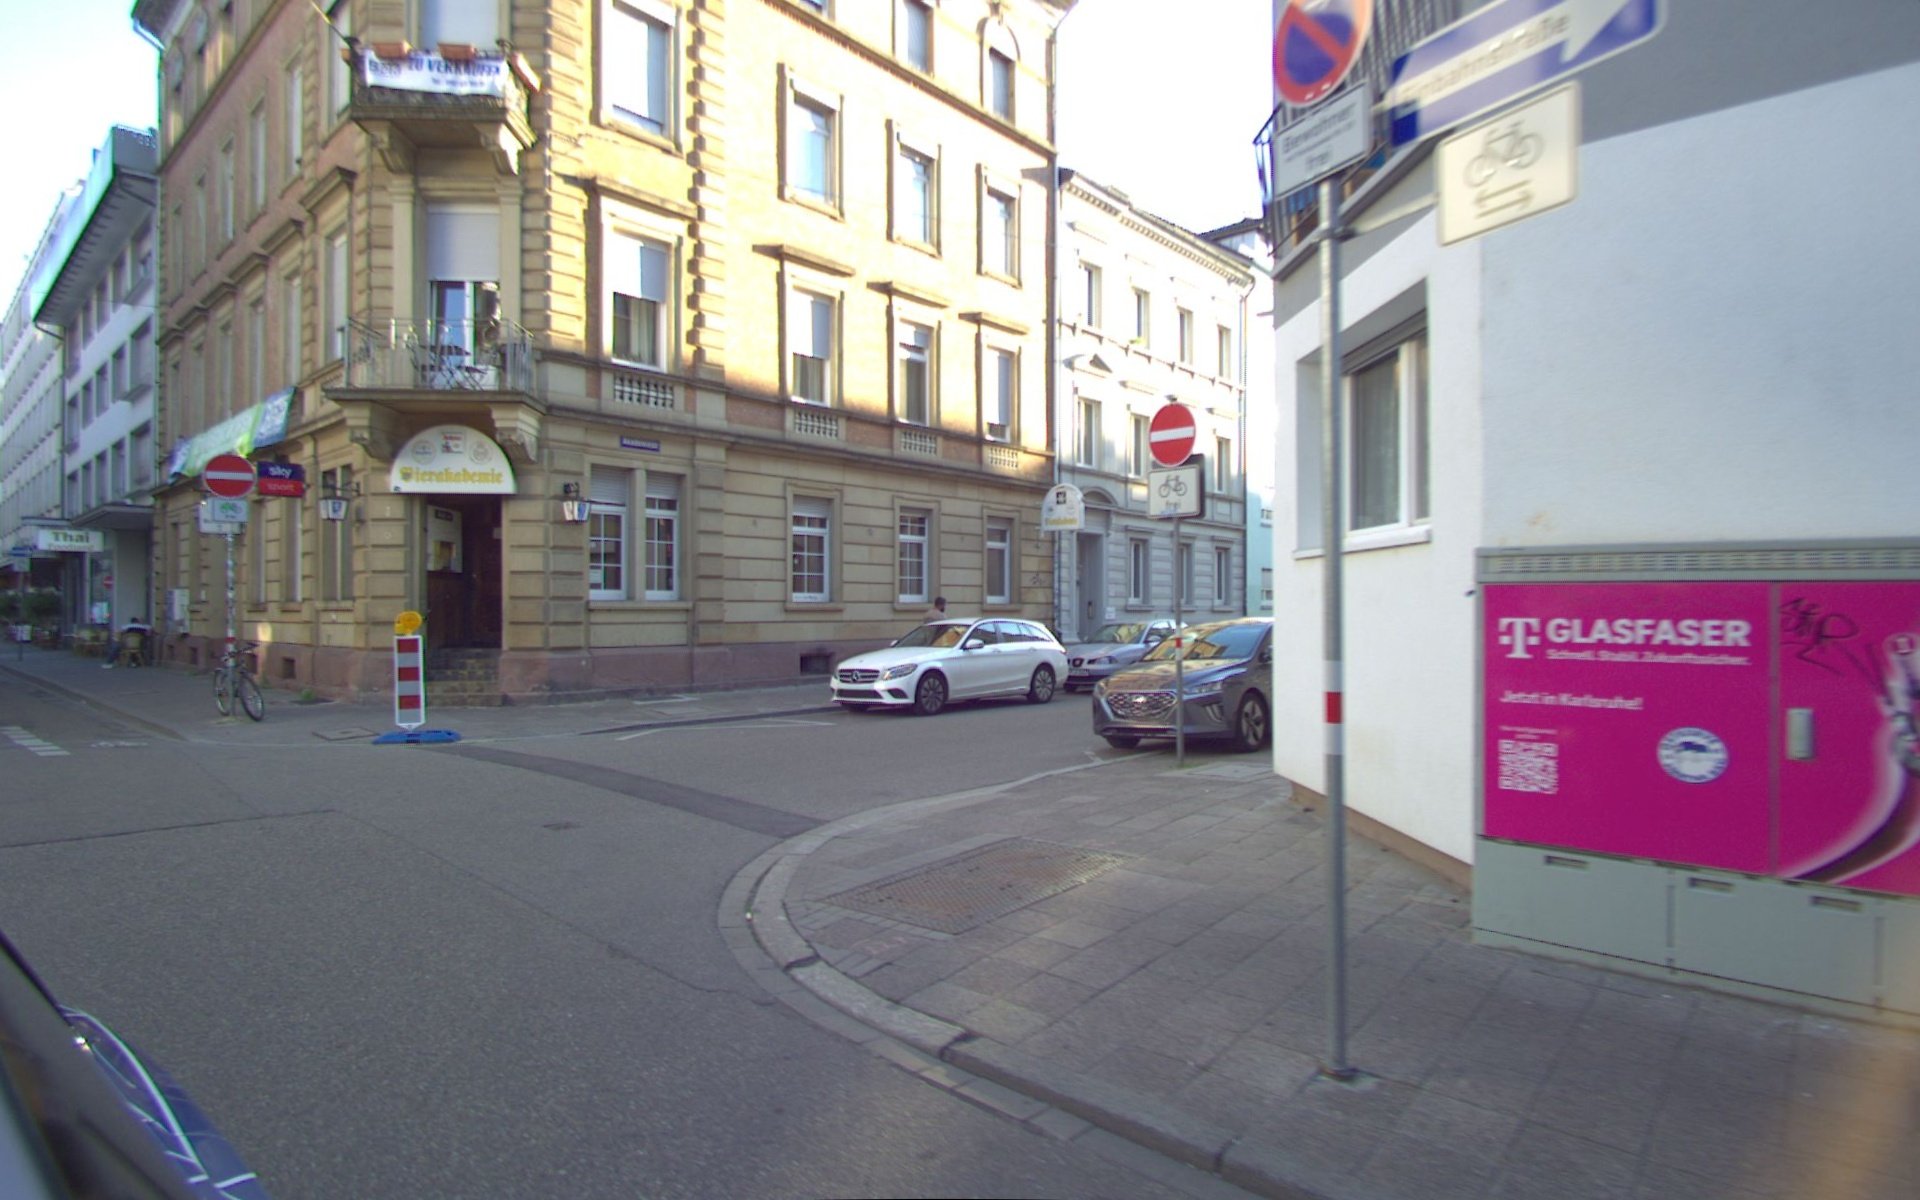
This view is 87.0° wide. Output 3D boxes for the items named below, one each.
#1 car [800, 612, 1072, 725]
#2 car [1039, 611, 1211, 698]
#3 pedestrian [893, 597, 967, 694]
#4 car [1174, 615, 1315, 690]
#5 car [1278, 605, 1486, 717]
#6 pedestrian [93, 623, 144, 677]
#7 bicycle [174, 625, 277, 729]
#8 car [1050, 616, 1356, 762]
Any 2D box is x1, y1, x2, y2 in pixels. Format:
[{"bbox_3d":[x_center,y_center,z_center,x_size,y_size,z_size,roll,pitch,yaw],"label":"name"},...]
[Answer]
[{"bbox_3d":[-0.248,1.002,16.457,1.998,1.576,4.446,-2,-2,40],"label":"car"},{"bbox_3d":[3.388,1.023,20.392,1.630,1.589,3.701,-2,-2,43],"label":"car"},{"bbox_3d":[-0.558,0.836,18.968,0.982,1.755,1.004,-1,-2,35],"label":"pedestrian"},{"bbox_3d":[7.001,1.218,24.756,1.791,1.671,3.762,-2,-2,43],"label":"car"},{"bbox_3d":[6.871,0.895,16.290,1.969,1.569,3.835,-2,-2,41],"label":"car"},{"bbox_3d":[-21.419,1.256,25.784,0.824,1.349,0.808,1,-1,-27],"label":"pedestrian"},{"bbox_3d":[-9.993,1.009,13.747,1.761,1.285,0.652,-1,2,39],"label":"bicycle"},{"bbox_3d":[2.940,0.923,11.774,1.943,1.383,3.737,-4,-3,40],"label":"car"}]
